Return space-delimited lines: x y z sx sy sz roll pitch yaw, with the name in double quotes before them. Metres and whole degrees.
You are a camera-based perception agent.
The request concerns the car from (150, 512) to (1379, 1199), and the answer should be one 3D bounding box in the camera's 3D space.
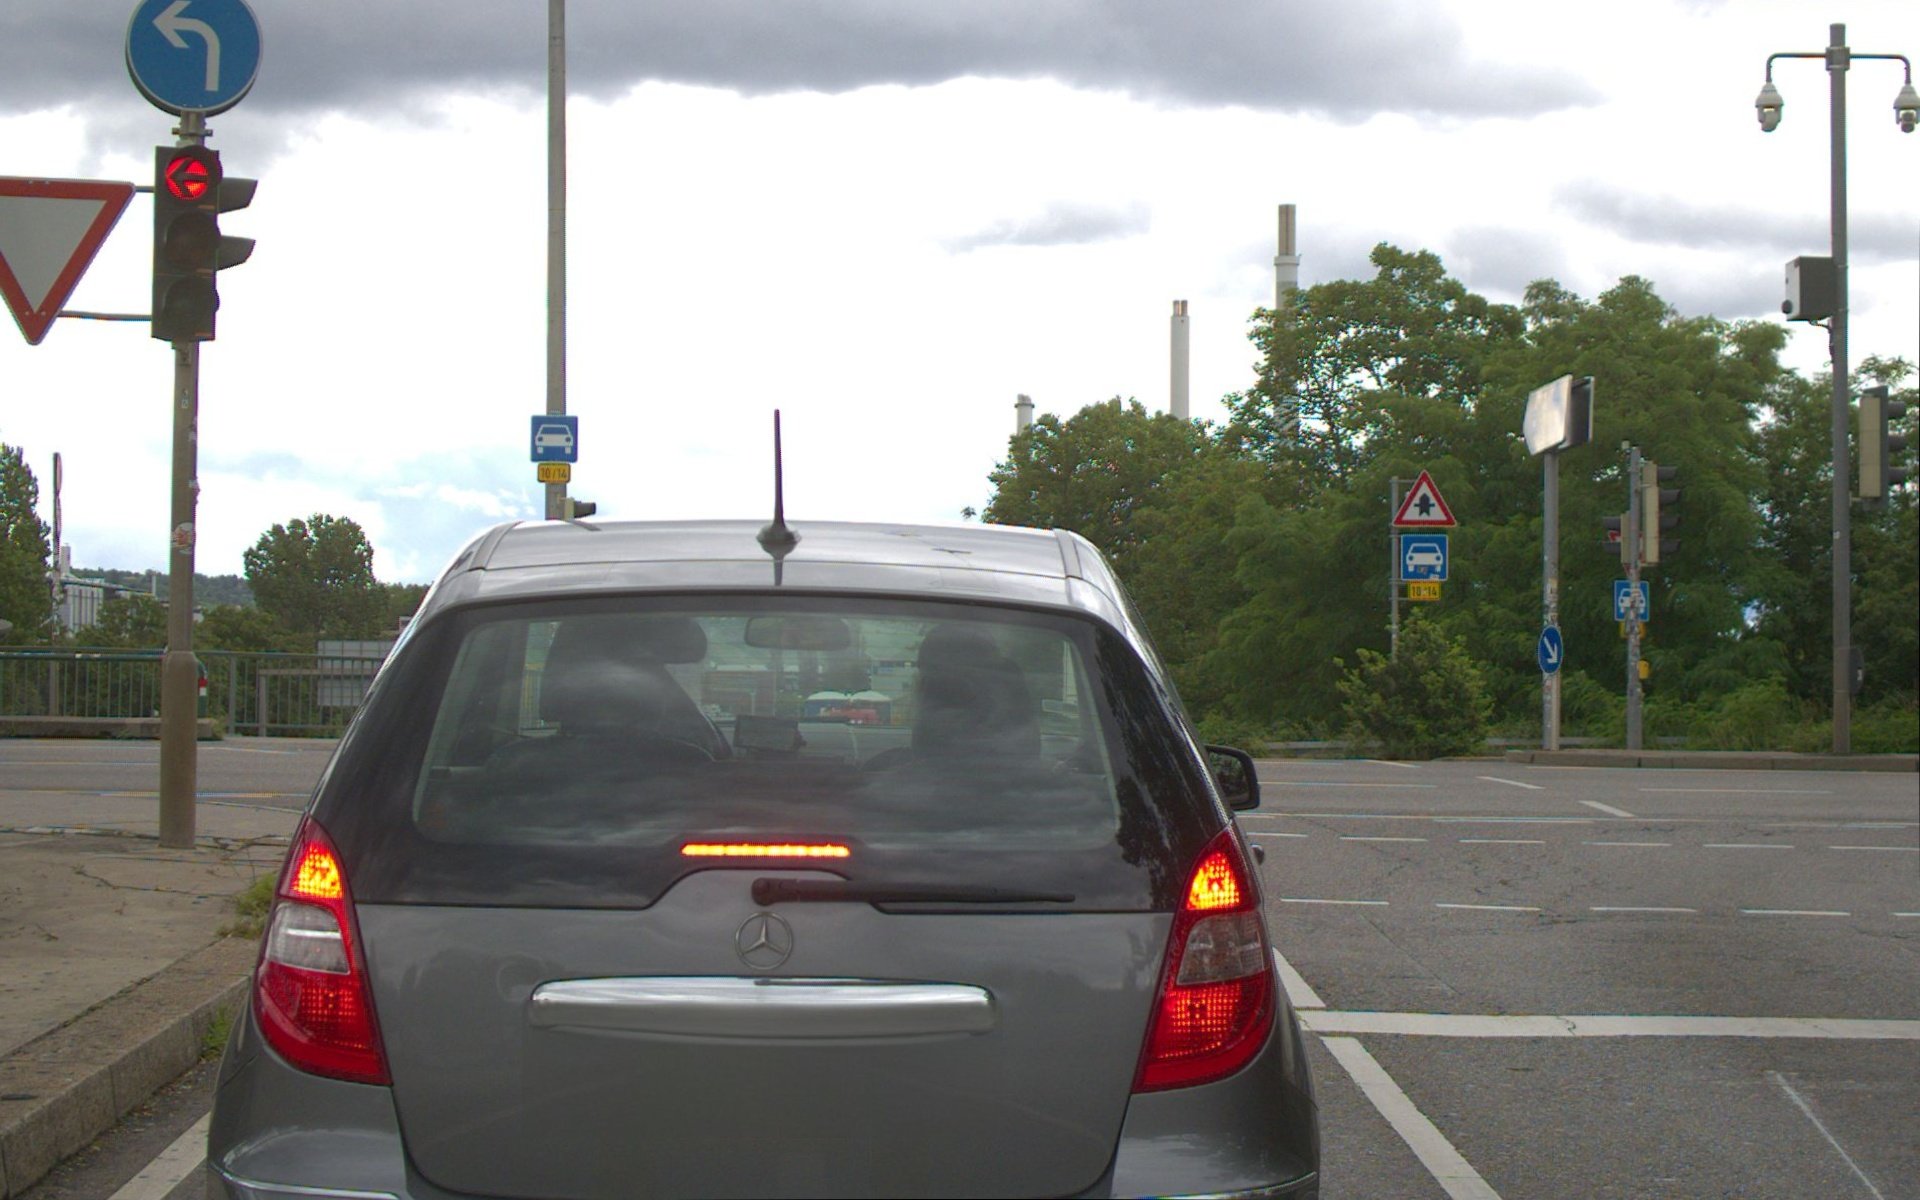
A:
"car" -0.296 0.638 6.673 1.739 1.538 3.541 1 1 0
